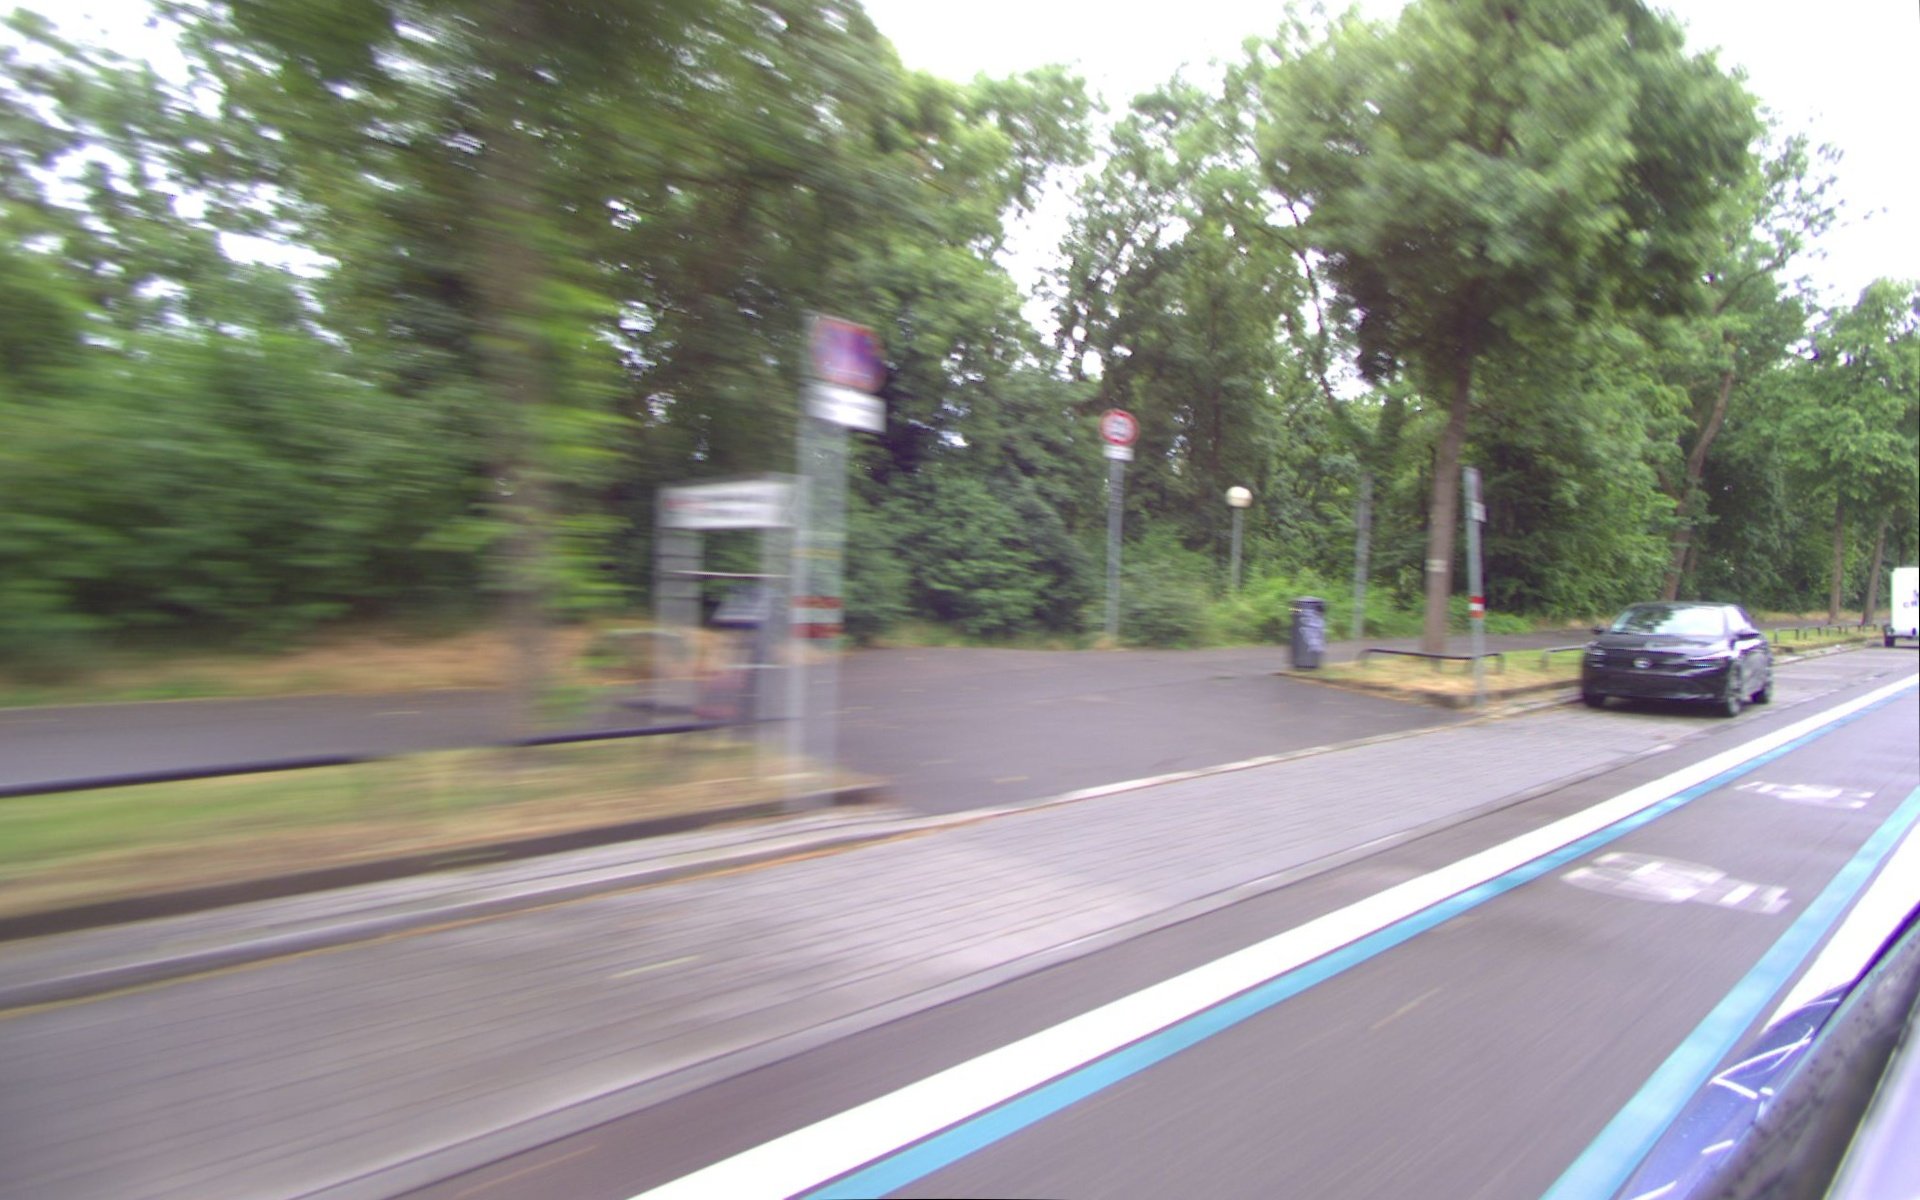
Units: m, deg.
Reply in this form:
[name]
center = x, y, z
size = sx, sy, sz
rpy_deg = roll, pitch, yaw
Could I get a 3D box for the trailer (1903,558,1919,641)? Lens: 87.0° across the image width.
[trailer]
center = 31.707, 0.000, 32.430
size = 3.934, 2.597, 1.985
rpy_deg = 0, 1, -44

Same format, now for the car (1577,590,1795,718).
[car]
center = 10.116, 0.634, 14.000
size = 3.930, 1.495, 1.697
rpy_deg = 0, 1, -43
